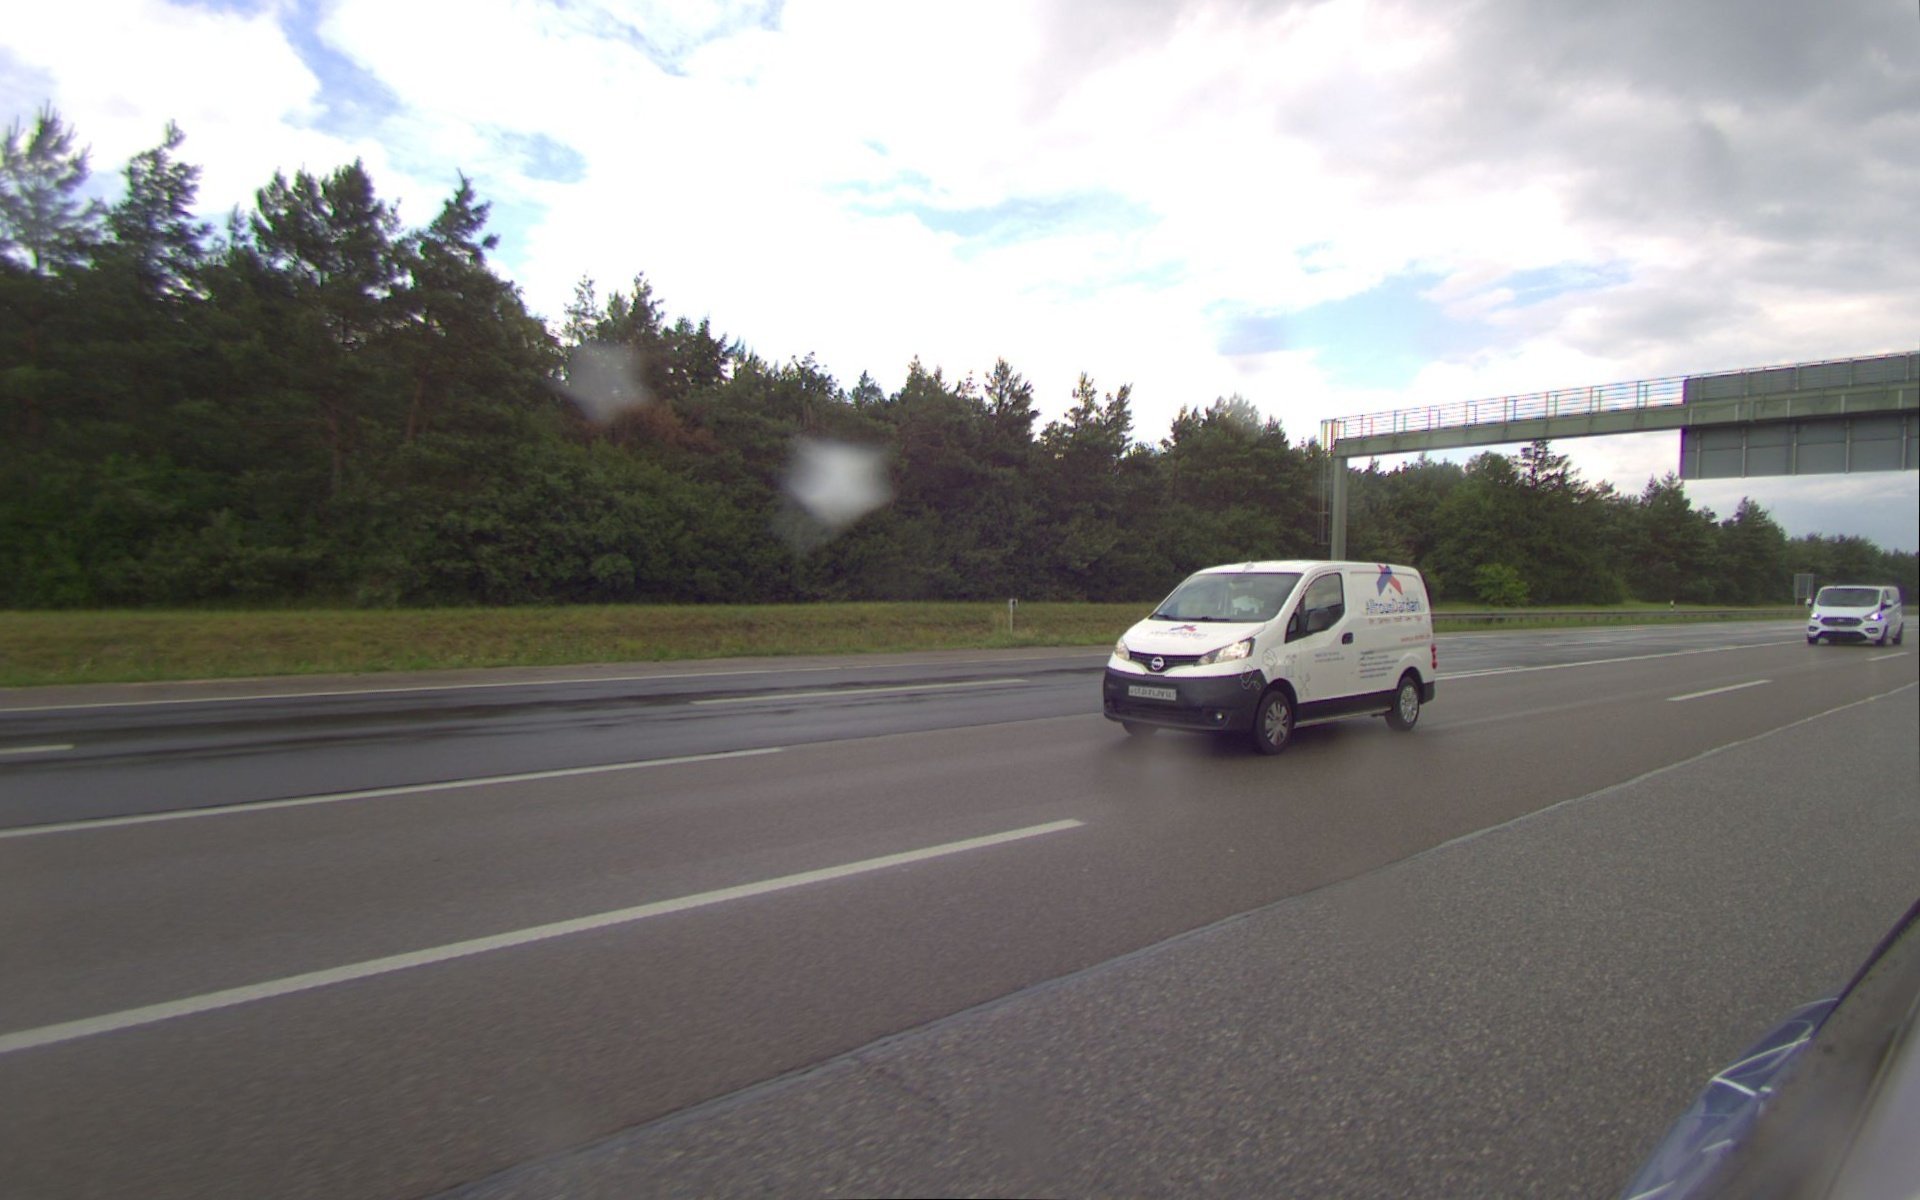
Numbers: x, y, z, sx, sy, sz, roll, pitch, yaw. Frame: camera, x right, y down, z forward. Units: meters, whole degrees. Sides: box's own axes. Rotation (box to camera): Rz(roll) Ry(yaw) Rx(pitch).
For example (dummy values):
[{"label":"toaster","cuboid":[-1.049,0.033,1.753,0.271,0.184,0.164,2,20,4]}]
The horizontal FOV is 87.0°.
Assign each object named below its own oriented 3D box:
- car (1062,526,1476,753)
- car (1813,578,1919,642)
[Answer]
[{"label":"car","cuboid":[3.492,0.318,10.909,4.794,1.925,1.968,0,1,-40]},{"label":"car","cuboid":[31.004,0.315,34.392,5.381,2.039,1.999,0,0,-38]}]
